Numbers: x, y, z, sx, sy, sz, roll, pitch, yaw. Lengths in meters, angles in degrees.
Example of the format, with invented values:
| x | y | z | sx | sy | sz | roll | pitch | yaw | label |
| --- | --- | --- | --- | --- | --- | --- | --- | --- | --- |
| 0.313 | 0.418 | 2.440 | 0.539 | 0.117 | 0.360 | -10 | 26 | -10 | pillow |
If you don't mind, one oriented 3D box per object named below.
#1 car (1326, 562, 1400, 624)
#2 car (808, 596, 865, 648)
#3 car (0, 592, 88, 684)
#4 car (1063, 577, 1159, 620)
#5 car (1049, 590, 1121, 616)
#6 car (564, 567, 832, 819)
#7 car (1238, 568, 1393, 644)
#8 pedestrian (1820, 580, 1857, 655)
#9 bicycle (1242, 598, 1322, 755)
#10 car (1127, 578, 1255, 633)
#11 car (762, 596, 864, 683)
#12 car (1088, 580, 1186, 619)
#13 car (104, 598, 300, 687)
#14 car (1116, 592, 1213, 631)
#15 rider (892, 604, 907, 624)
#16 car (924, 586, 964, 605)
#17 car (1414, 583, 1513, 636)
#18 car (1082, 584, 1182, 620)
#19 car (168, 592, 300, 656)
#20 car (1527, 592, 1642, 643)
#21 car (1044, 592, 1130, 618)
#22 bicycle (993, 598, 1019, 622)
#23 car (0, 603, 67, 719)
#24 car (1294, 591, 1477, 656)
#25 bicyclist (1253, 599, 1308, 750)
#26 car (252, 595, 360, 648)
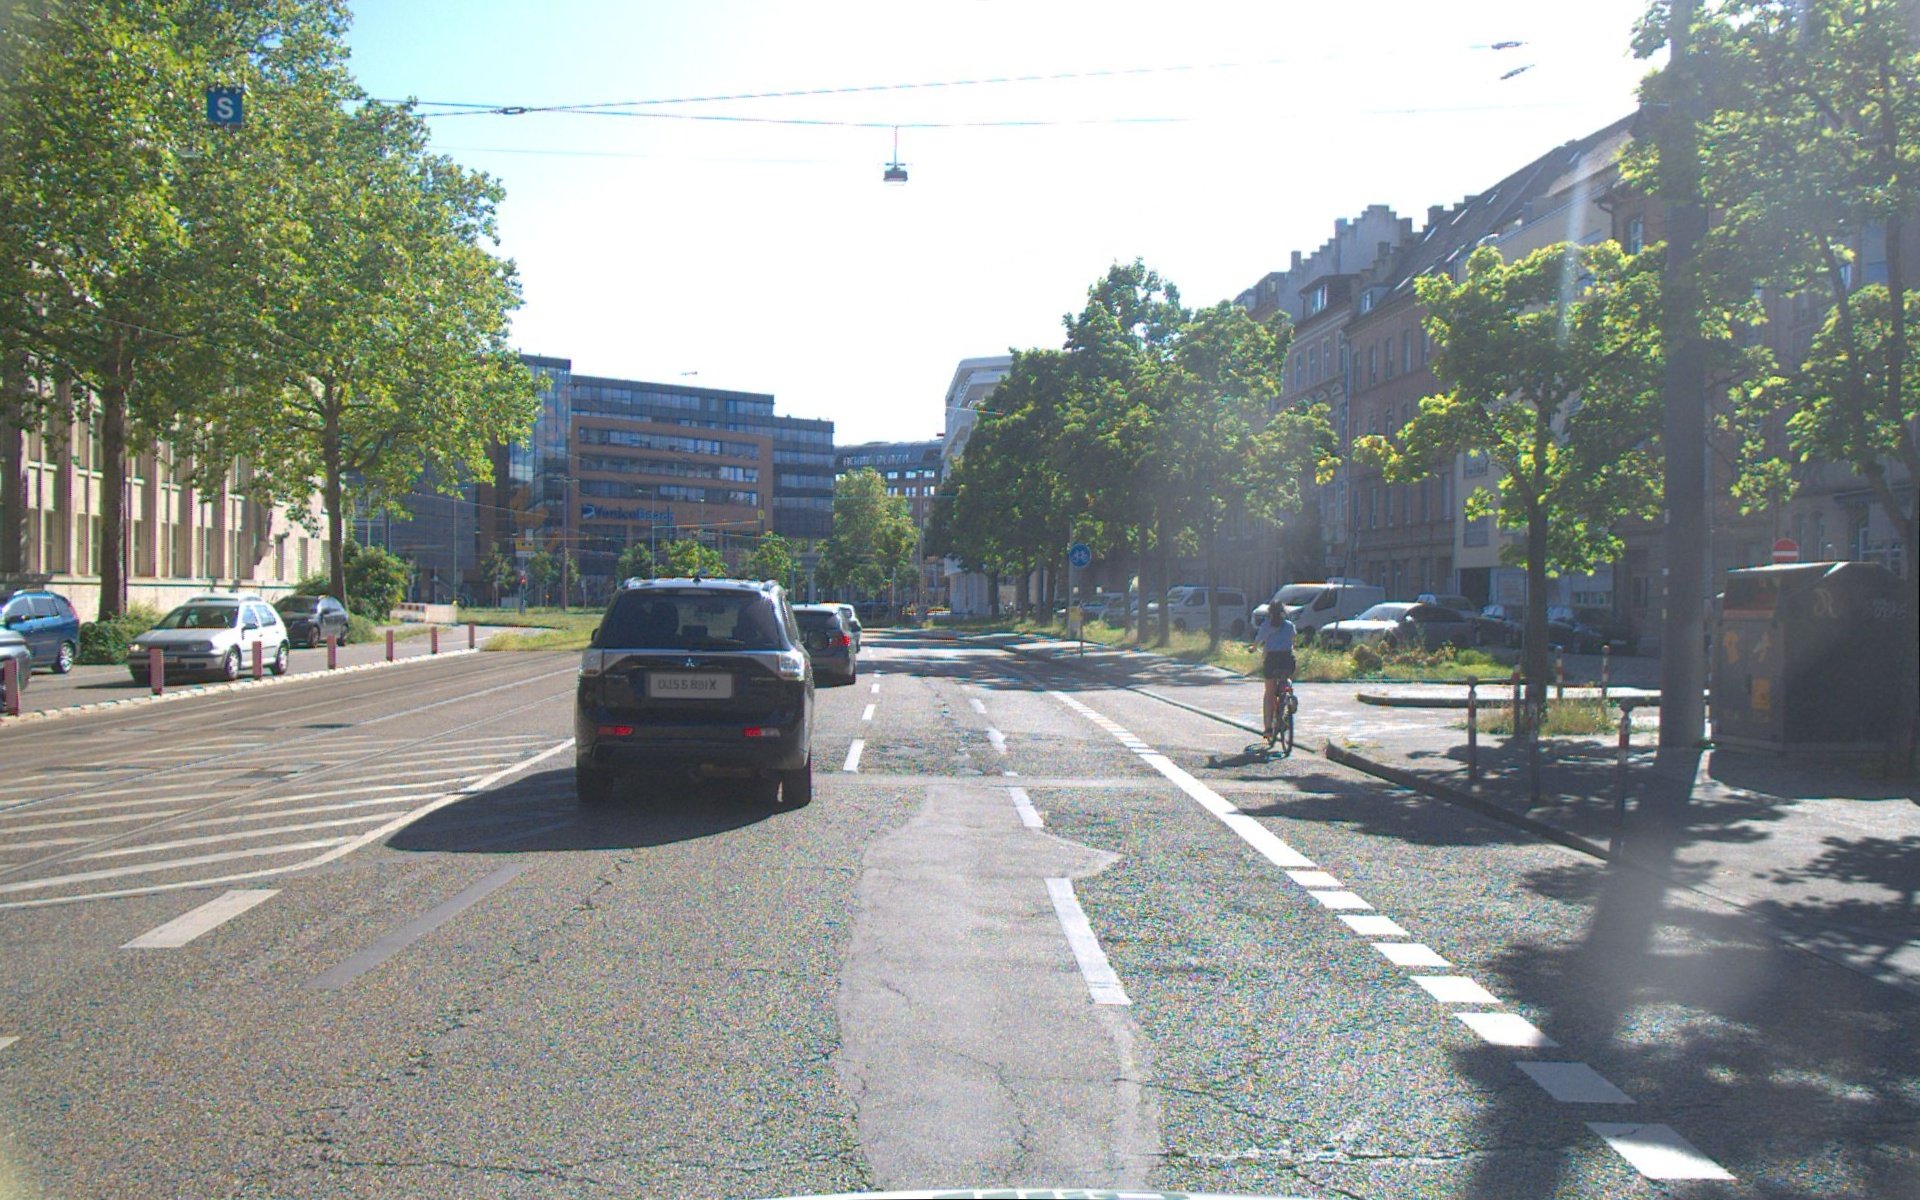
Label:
| x | y | z | sx | sy | sz | roll | pitch | yaw | label |
| --- | --- | --- | --- | --- | --- | --- | --- | --- | --- |
| 17.760 | -0.333 | 73.160 | 1.954 | 2.630 | 4.511 | -1 | 1 | -2 | car |
| -3.751 | 0.688 | 49.787 | 1.600 | 1.448 | 3.777 | 2 | -2 | -5 | car |
| -18.592 | 0.687 | 31.691 | 1.794 | 1.668 | 4.390 | 0 | 0 | -6 | car |
| 7.902 | -0.077 | 86.296 | 4.831 | 2.048 | 2.072 | -2 | 0 | -38 | car |
| 7.972 | 0.188 | 105.262 | 4.419 | 1.593 | 1.914 | 0 | 0 | -36 | car |
| -1.988 | 0.658 | 13.701 | 1.800 | 1.711 | 4.638 | 1 | 0 | -5 | car |
| 10.802 | 0.145 | 50.120 | 4.832 | 2.111 | 1.993 | -2 | 1 | -39 | car |
| 21.211 | 0.416 | 39.956 | 0.558 | 1.789 | 0.615 | 0 | 0 | -1 | pedestrian |
| 3.619 | 0.823 | 18.710 | 0.429 | 1.667 | 1.937 | 0 | 0 | -3 | bicycle |
| 9.505 | 0.203 | 67.942 | 5.124 | 2.048 | 2.076 | -2 | 0 | -34 | car |
| -2.723 | 0.751 | 30.907 | 1.700 | 1.448 | 4.462 | 2 | -2 | -5 | car |
| 8.618 | -0.025 | 80.428 | 4.458 | 1.757 | 1.977 | -2 | 0 | -34 | car |
| -13.766 | 0.723 | 30.317 | 1.793 | 1.478 | 4.169 | -1 | 0 | -2 | car |
| 8.763 | 0.472 | 70.746 | 3.989 | 1.504 | 1.788 | -2 | 0 | -38 | car |
| -3.699 | 0.837 | 101.294 | 0.491 | 1.196 | 1.677 | 0 | 1 | 13 | rider |
| -1.699 | -0.517 | 177.435 | 3.902 | 2.049 | 2.002 | 0 | 0 | 12 | car |
| 18.645 | 0.314 | 61.476 | 1.954 | 1.831 | 4.623 | -2 | 1 | -4 | car |
| 8.746 | 0.102 | 83.773 | 4.821 | 1.676 | 2.076 | -2 | 0 | -34 | car |
| -19.670 | 0.611 | 45.012 | 1.793 | 1.615 | 4.393 | -1 | 0 | -3 | car |
| 19.119 | 0.499 | 50.809 | 1.694 | 1.445 | 4.290 | -1 | 1 | -4 | car |
| 7.099 | 0.256 | 92.390 | 4.703 | 1.404 | 2.018 | 0 | 0 | -38 | car |
| 2.652 | 0.575 | 95.364 | 0.754 | 1.312 | 1.592 | -1 | 1 | 35 | bicycle |
| -13.227 | 0.803 | 20.349 | 1.792 | 1.478 | 4.960 | -1 | 0 | 0 | car |
| 10.991 | 0.568 | 42.590 | 4.829 | 1.460 | 1.994 | -2 | 1 | -37 | car |
| 3.618 | 0.821 | 18.711 | 0.429 | 1.667 | 0.778 | 0 | 0 | -3 | bicyclist |
| -19.774 | 0.620 | 50.185 | 1.793 | 1.518 | 4.179 | 0 | 0 | -3 | car |
